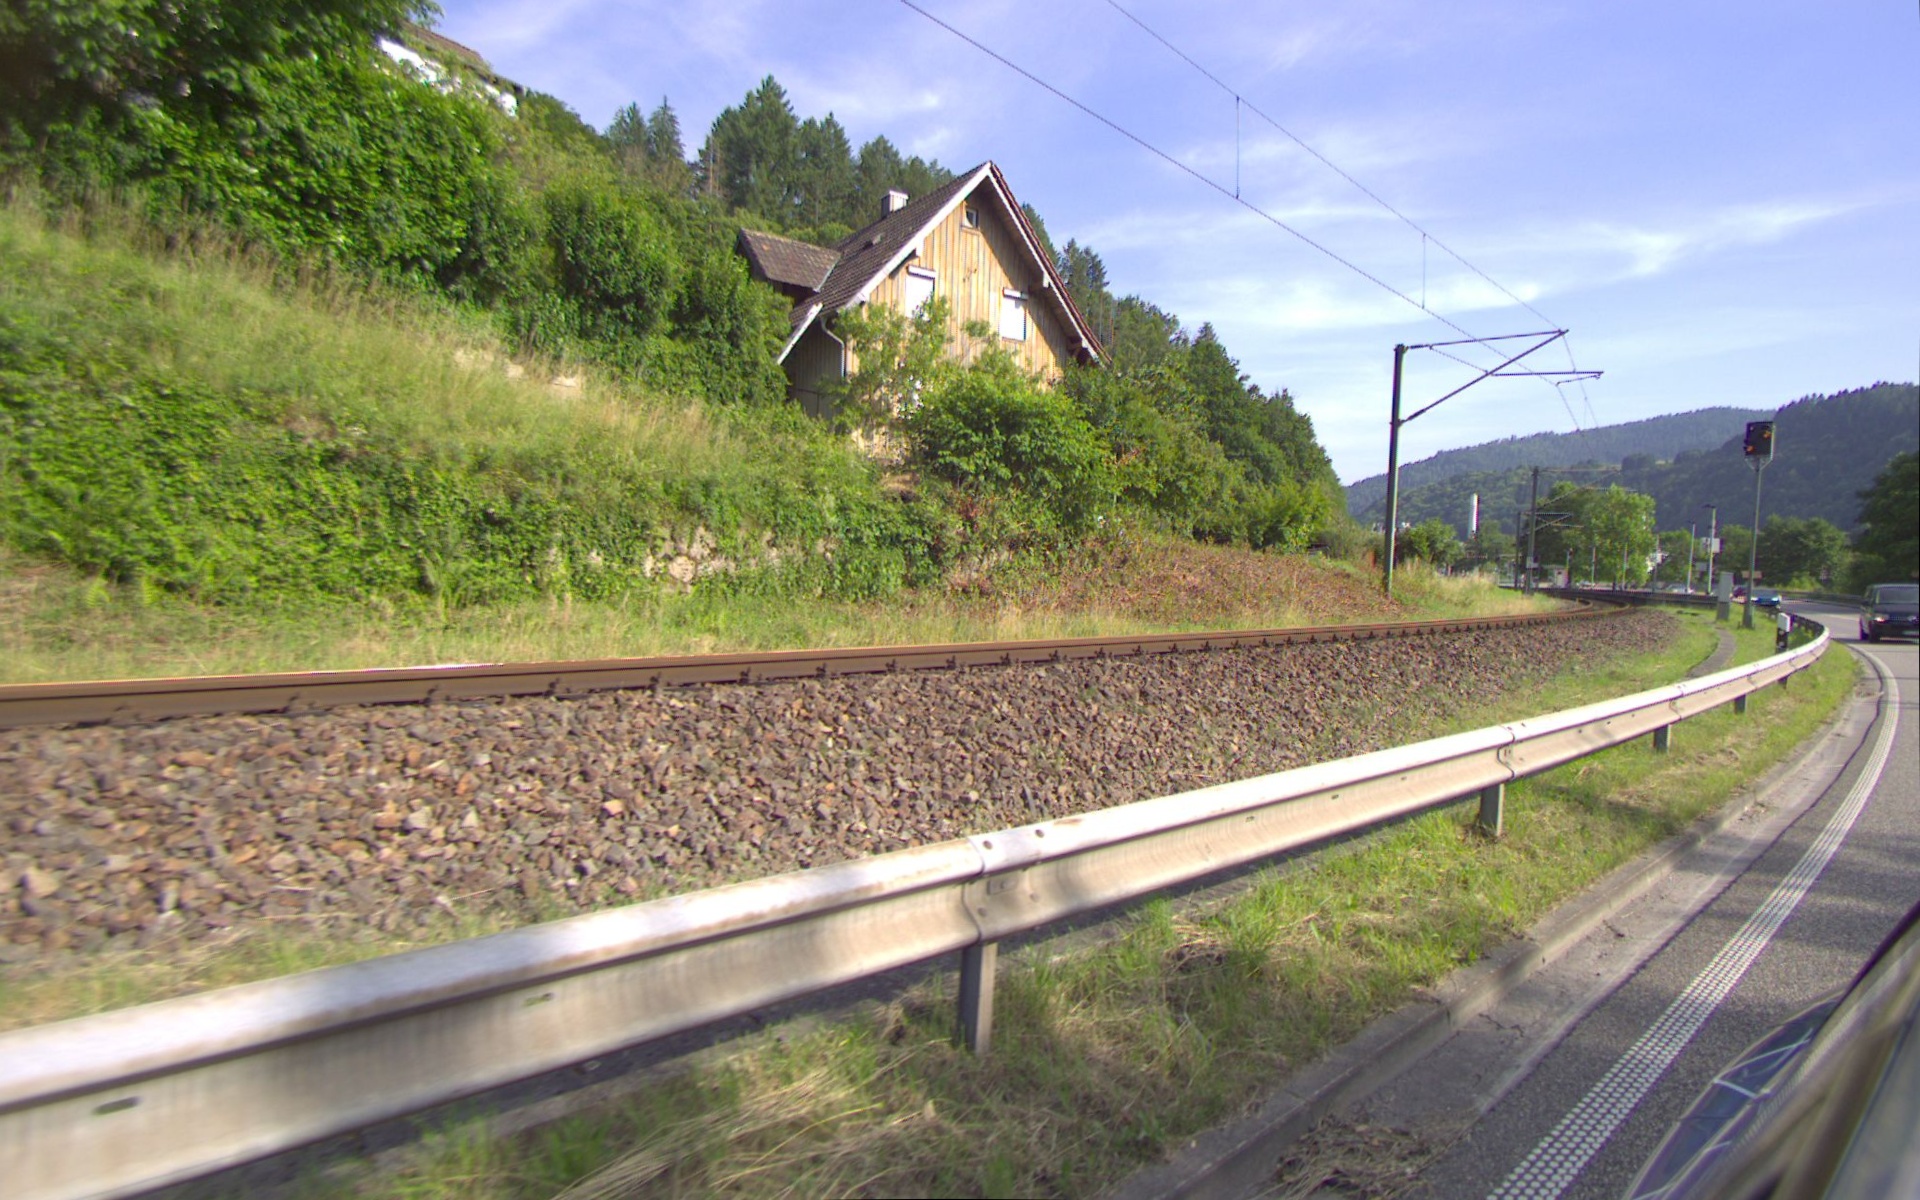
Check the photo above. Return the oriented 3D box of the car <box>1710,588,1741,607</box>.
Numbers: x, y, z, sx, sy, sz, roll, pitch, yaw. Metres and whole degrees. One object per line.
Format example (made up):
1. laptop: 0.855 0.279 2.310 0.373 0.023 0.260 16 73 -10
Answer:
1. car: 75.576 -0.271 99.939 1.870 1.767 4.135 1 1 29

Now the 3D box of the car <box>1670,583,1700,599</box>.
1. car: 84.268 -1.048 117.710 1.865 1.767 4.147 1 1 22

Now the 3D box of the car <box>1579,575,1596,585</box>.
1. car: 112.984 -3.581 182.254 1.865 1.767 4.146 2 1 23

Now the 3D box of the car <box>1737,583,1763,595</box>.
1. car: 89.000 -1.245 114.038 1.624 1.365 4.069 0 2 28

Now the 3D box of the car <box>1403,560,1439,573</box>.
1. car: 69.714 -5.046 152.987 4.921 2.038 1.984 0 1 24

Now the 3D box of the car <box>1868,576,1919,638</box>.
1. car: 31.599 0.189 33.548 2.010 1.940 4.251 1 2 39

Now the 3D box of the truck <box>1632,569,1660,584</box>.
1. truck: 108.531 -3.665 160.104 1.856 2.314 4.707 2 1 10

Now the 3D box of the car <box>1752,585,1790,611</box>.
1. car: 61.396 -0.175 76.695 1.874 1.766 4.129 2 2 34
